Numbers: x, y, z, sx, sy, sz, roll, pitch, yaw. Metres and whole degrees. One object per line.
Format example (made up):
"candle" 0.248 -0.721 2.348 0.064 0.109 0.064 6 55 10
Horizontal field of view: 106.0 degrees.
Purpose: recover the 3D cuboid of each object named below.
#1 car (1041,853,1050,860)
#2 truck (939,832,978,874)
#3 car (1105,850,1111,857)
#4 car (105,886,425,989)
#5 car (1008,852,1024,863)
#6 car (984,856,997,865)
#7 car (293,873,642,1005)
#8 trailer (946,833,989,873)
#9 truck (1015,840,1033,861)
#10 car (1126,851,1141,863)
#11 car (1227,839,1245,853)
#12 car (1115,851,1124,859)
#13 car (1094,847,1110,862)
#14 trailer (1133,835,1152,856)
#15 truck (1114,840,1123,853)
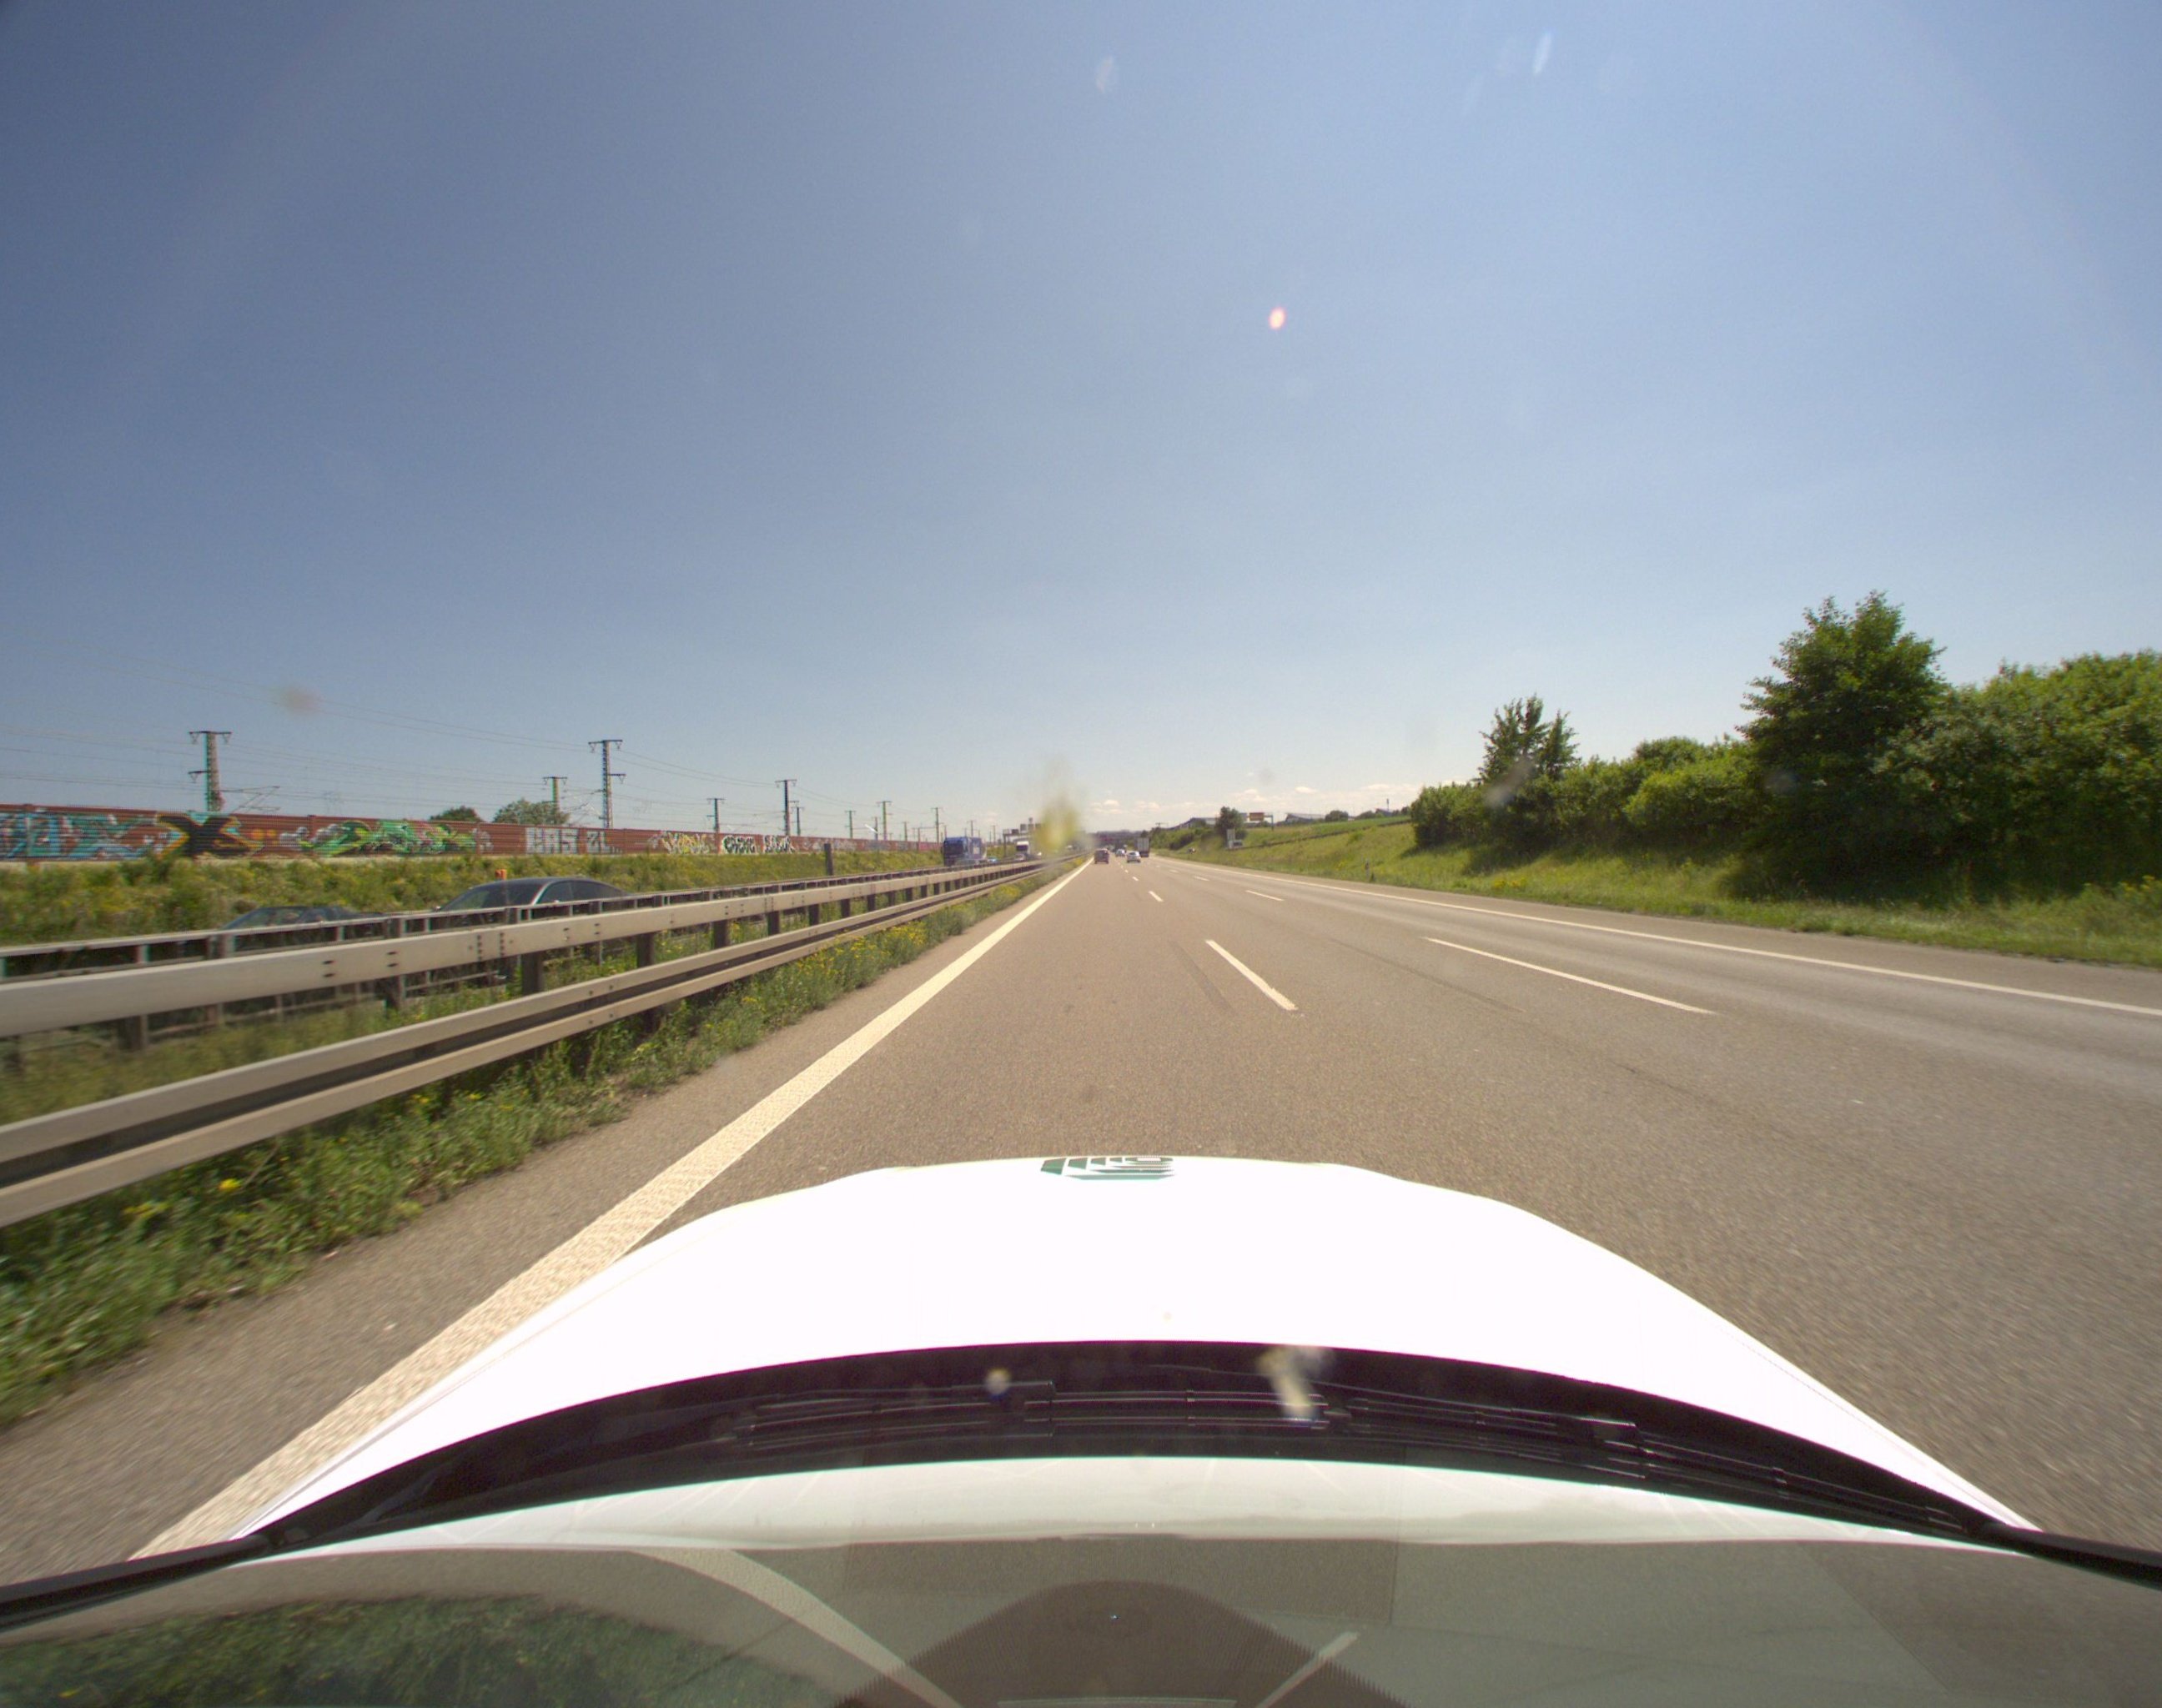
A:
"car" -7.688 0.499 177.651 1.638 1.461 3.838 -1 0 2
"truck" -13.769 -0.144 91.969 2.877 4.407 7.506 -2 0 2
"car" 8.611 -0.109 258.719 1.986 2.014 4.001 -1 0 1
"car" -15.151 1.464 15.502 1.986 1.487 3.933 -3 0 2
"car" -9.966 0.589 125.511 1.986 1.648 4.002 -1 0 2
"car" -16.091 1.087 144.663 1.747 1.519 3.838 -1 0 2
"car" -8.876 1.124 12.361 1.986 1.487 4.156 -3 0 2
"trailer" -13.553 -0.176 98.475 2.877 4.407 12.097 -2 0 2
"truck" -11.497 -0.630 164.456 2.719 4.072 6.384 -2 0 2
"car" 6.987 0.444 107.425 1.872 1.526 4.005 -1 0 4
"car" 28.210 -1.441 148.429 2.267 2.528 5.400 -1 0 1
"car" 8.245 0.187 173.931 1.873 1.526 4.003 -1 0 3
"car" 2.626 0.121 102.007 1.874 1.775 4.001 -2 0 2
"trailer" 12.271 -1.659 163.683 3.165 4.059 9.444 -2 0 2
"truck" 9.896 -2.085 216.903 2.346 3.416 6.060 -1 0 2
